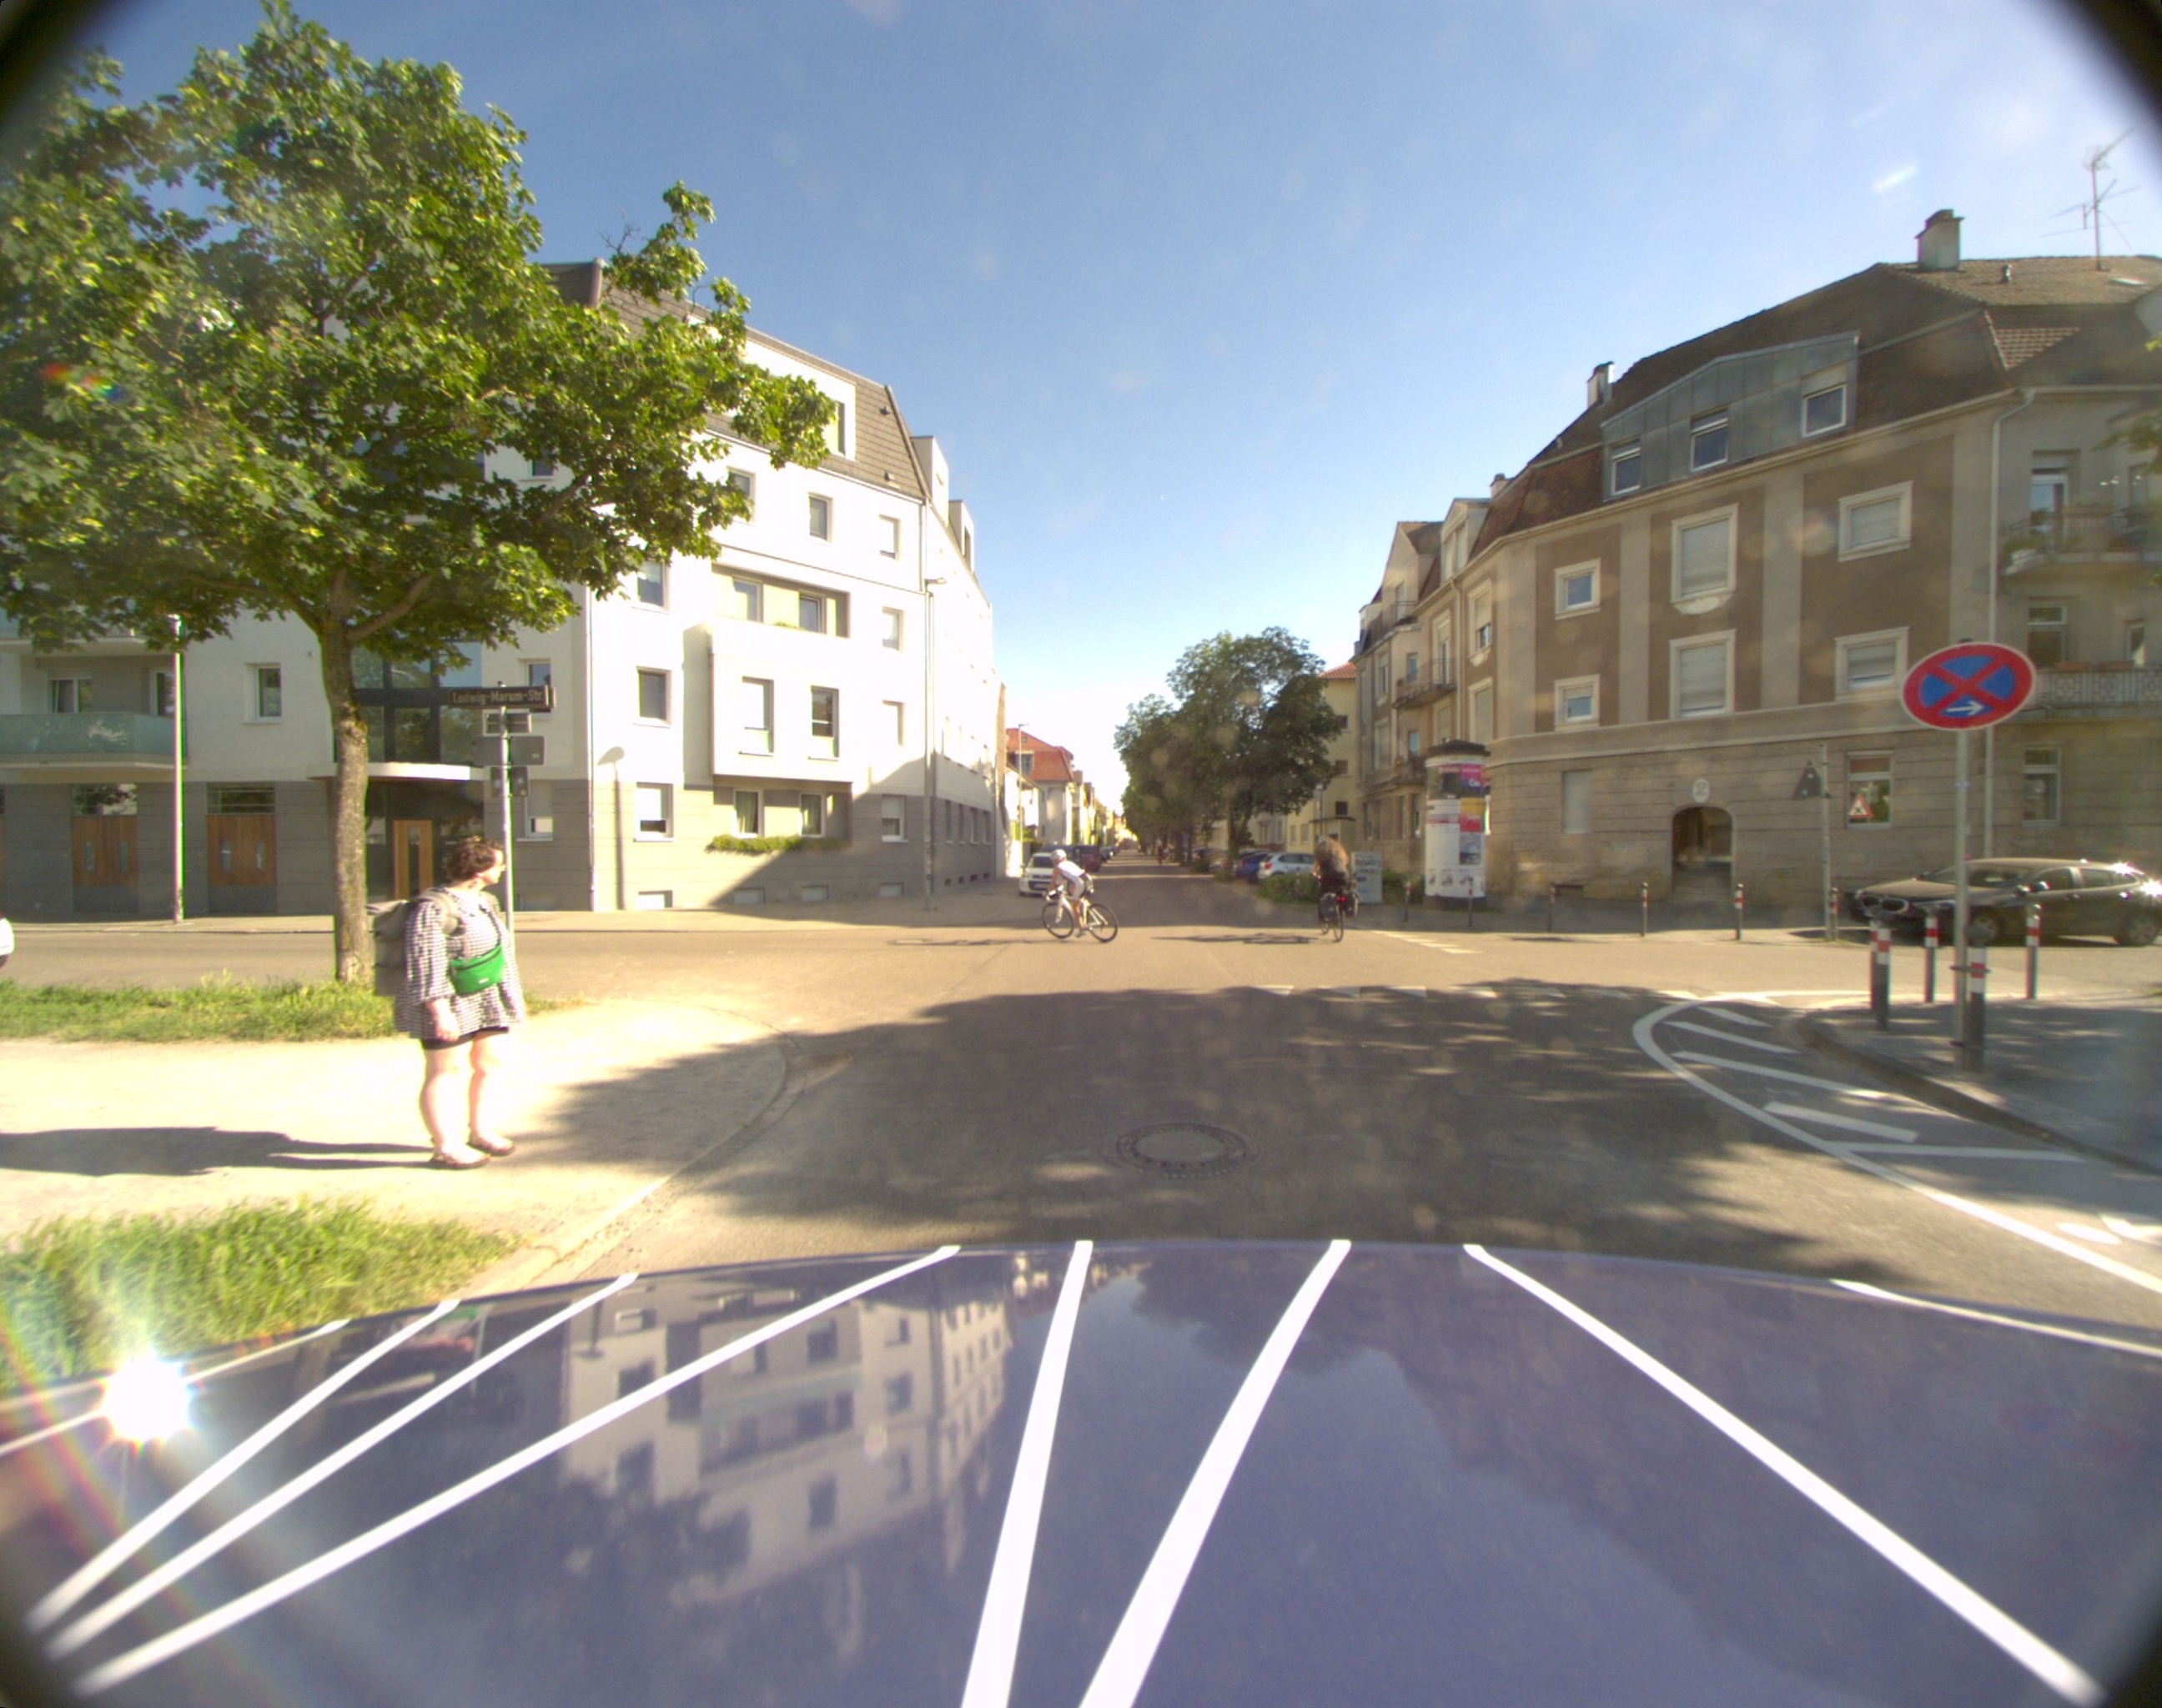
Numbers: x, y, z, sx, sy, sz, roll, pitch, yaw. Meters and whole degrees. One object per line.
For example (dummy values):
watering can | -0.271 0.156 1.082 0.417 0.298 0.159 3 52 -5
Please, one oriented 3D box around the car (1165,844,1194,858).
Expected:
car | 12.557 -0.330 96.840 3.527 1.693 1.692 -1 1 2

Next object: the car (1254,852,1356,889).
car | 9.365 0.672 31.989 3.788 1.436 1.692 -1 1 1

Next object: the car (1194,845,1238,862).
car | 11.937 -0.041 67.370 3.528 1.486 1.692 -1 1 -1

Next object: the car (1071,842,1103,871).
car | 0.442 0.157 52.777 1.883 1.860 4.402 3 1 4

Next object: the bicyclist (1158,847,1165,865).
bicyclist | 7.038 0.140 66.541 0.644 1.557 1.043 0 1 4

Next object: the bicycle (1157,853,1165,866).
bicycle | 7.059 0.492 66.760 0.644 1.102 2.066 0 1 5

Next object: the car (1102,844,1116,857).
car | 4.046 -0.502 108.681 1.883 1.734 4.402 0 0 4

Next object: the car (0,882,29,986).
car | -17.050 1.167 10.028 3.990 1.426 1.739 0 5 4

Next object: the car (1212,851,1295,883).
car | 8.846 0.648 38.999 3.791 1.486 1.691 -1 1 -10

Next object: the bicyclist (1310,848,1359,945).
bicyclist | 4.280 0.703 12.883 0.644 1.610 0.637 0 1 4

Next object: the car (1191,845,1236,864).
car | 11.224 0.050 64.623 3.528 1.486 1.692 -1 1 -1

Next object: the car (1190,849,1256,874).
car | 9.041 0.462 48.573 3.791 1.486 1.691 -1 1 -10

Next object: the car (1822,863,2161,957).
car | 16.497 0.966 13.877 4.012 1.476 1.867 0 4 1

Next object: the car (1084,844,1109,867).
car | 1.407 0.094 66.986 1.883 1.860 4.402 3 1 4

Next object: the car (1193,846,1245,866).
car | 10.910 0.161 60.124 3.789 1.486 1.692 -1 1 -1

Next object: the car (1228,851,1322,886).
car | 8.689 0.637 34.215 3.788 1.486 1.692 -1 1 1

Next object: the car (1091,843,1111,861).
car | 2.199 -0.187 82.216 1.883 1.860 4.402 0 0 4

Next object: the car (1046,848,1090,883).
car | -0.575 0.509 36.418 1.664 1.533 4.067 3 1 4

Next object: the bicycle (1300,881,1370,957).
bicycle | 4.288 1.062 12.968 0.644 1.102 2.066 0 1 5

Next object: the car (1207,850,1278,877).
car | 9.576 0.521 45.167 3.791 1.486 1.691 -1 1 -10

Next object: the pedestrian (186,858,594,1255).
pedestrian | -3.275 0.899 3.770 1.091 1.664 0.912 5 0 -13

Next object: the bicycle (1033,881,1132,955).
bicycle | -0.002 1.007 12.449 1.704 1.083 0.508 0 1 42

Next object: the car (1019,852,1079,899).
car | -1.055 0.702 26.560 1.664 1.440 3.689 3 1 4

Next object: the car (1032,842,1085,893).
car | -0.848 0.497 31.019 1.664 1.825 4.257 3 1 4

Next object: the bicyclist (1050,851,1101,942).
bicyclist | -0.097 0.677 12.531 0.685 1.456 0.499 1 1 42
